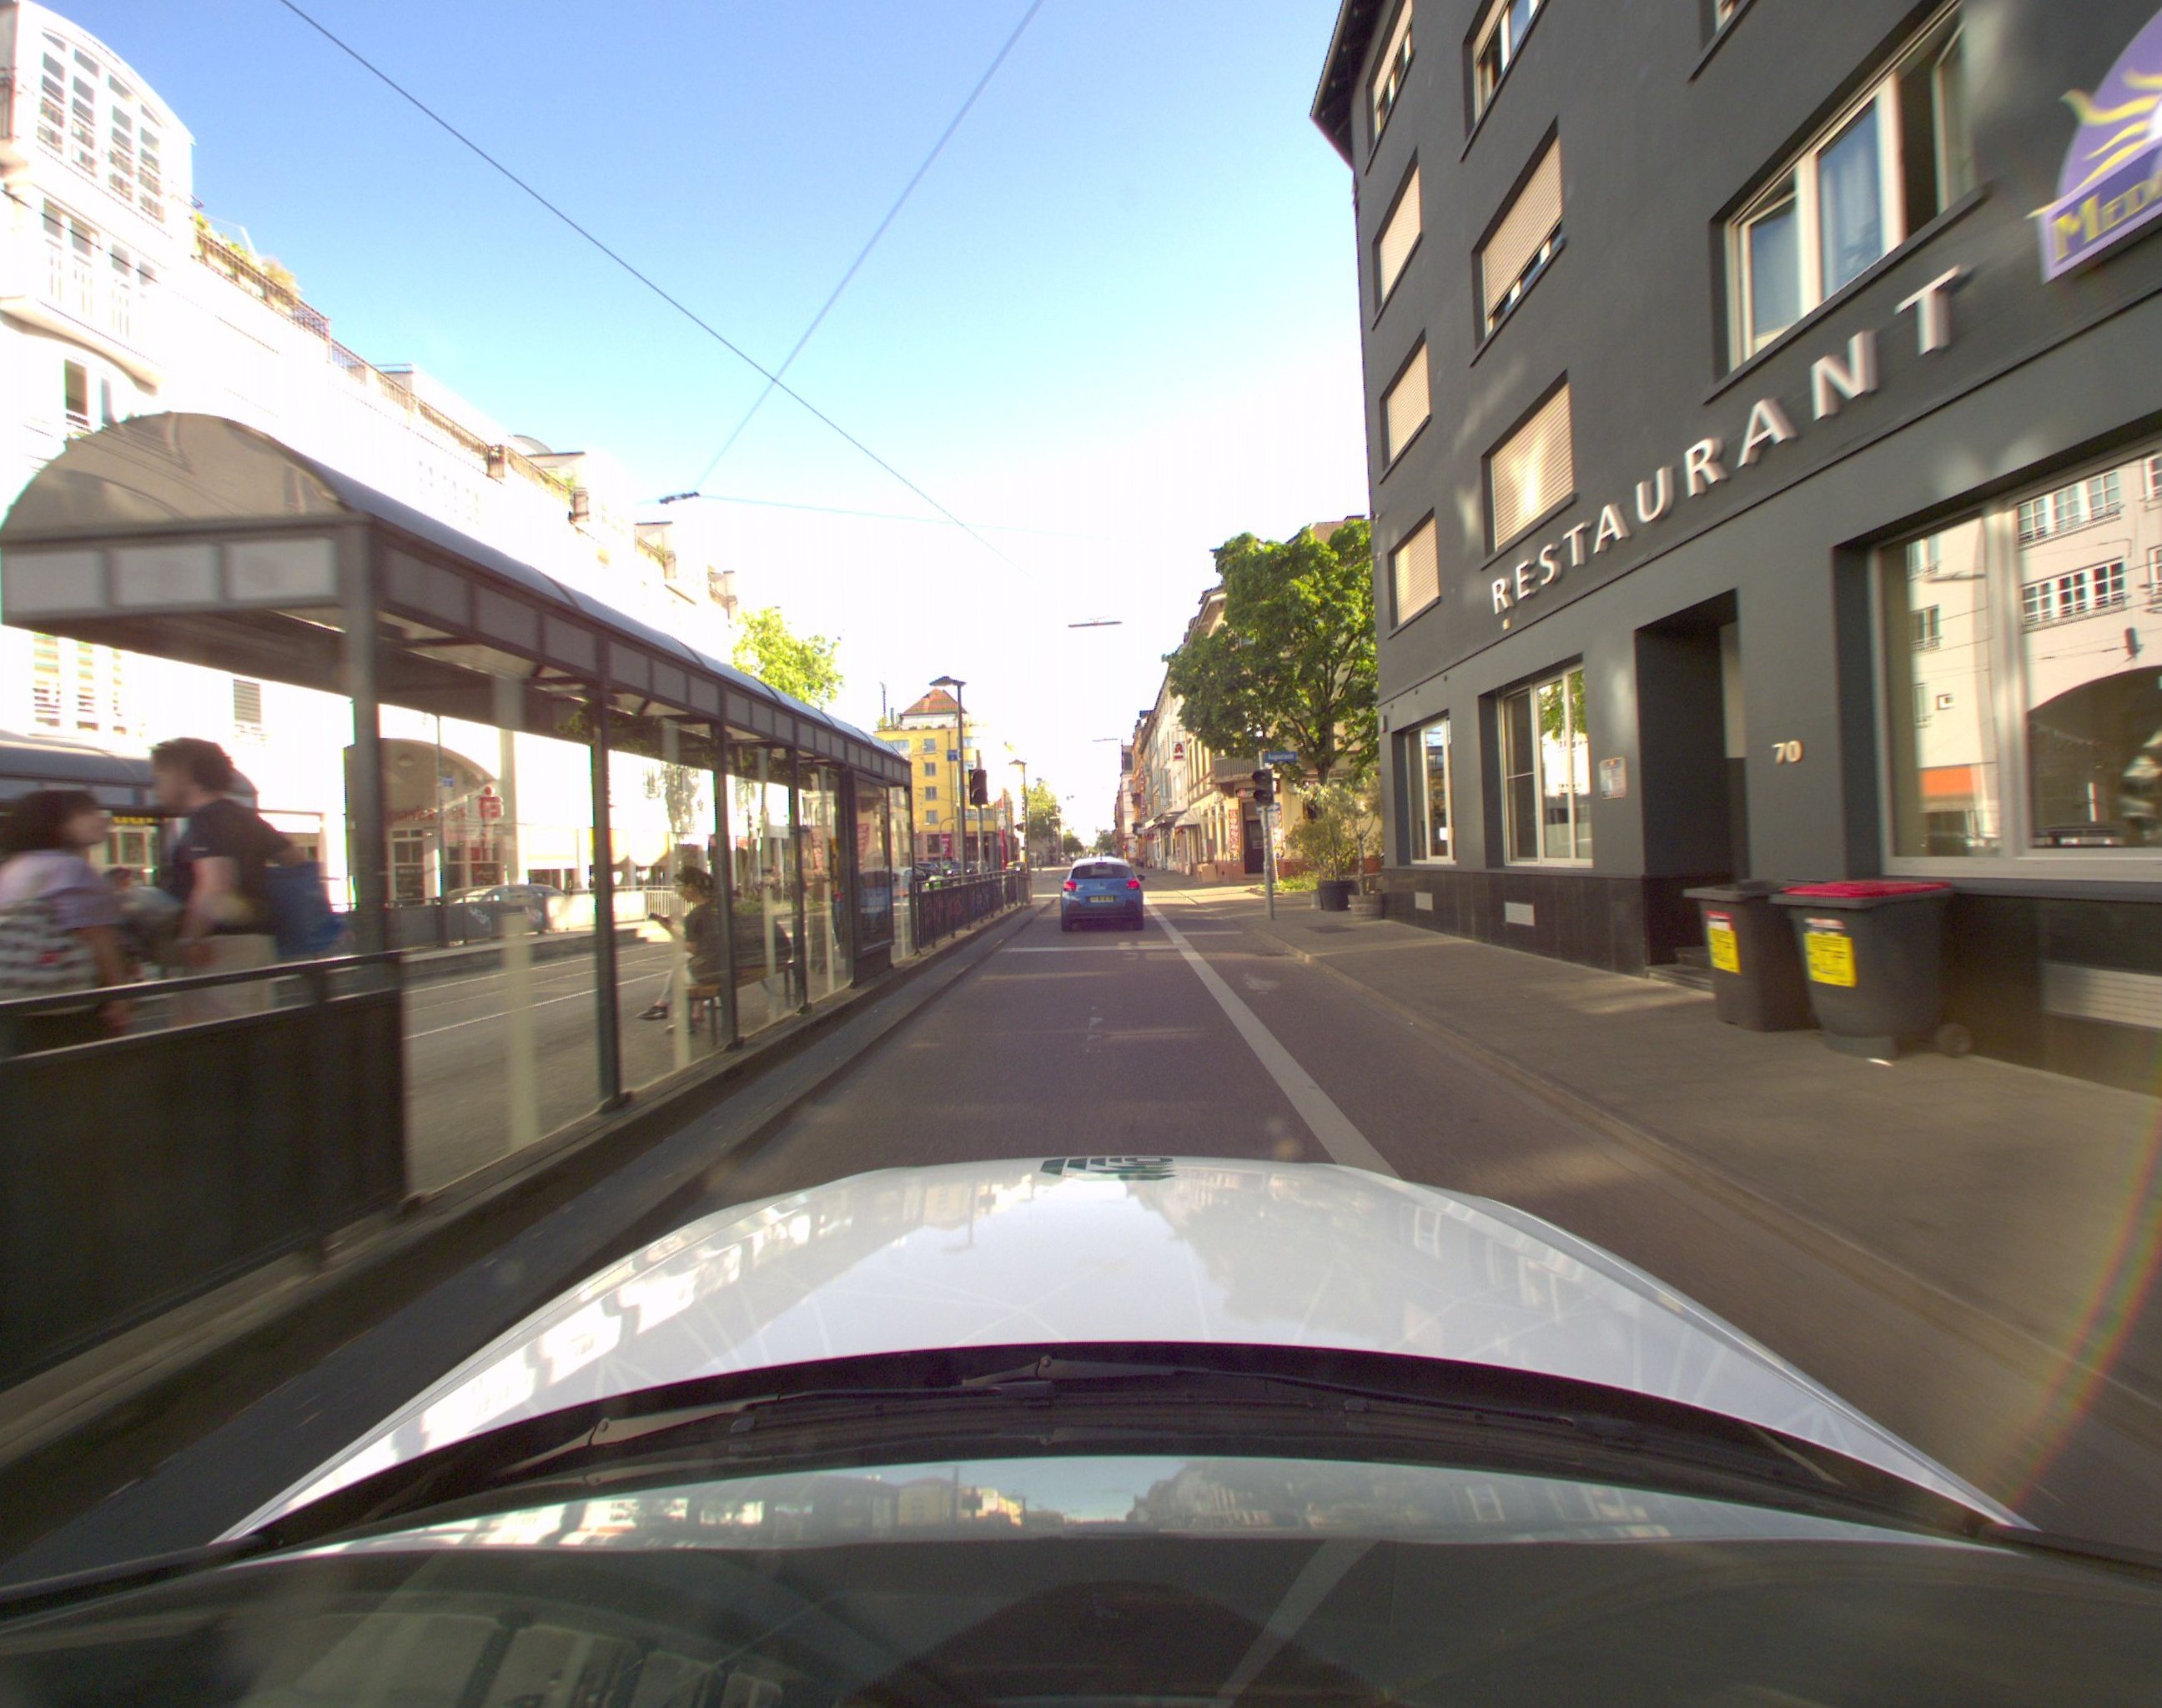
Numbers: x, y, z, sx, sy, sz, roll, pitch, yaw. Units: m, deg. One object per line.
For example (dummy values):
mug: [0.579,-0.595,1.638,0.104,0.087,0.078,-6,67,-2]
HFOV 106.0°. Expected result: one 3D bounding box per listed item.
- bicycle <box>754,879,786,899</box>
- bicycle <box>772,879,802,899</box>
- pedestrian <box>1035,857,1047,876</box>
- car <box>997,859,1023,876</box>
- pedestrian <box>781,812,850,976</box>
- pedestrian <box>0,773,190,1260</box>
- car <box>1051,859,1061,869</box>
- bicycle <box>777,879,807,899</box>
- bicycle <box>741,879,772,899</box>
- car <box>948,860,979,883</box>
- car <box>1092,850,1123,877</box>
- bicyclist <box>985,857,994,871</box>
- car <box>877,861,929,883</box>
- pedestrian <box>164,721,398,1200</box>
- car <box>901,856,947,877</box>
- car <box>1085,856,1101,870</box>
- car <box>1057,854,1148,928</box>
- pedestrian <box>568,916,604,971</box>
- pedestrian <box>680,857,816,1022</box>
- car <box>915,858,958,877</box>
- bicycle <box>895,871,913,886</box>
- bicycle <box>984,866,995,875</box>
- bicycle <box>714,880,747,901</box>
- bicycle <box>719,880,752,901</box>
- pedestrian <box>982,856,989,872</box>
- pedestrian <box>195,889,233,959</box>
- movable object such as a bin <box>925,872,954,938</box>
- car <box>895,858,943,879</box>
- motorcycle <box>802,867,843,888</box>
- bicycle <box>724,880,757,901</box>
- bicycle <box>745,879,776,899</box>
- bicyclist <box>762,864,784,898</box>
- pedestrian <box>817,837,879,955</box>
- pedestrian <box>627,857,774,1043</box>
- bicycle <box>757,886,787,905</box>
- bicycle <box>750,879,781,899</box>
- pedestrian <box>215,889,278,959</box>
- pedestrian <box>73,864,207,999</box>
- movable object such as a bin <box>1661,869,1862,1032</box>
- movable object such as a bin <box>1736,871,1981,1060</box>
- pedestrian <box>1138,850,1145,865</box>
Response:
bicycle: [-15.948,1.803,41.779,0.387,0.941,1.505,-3,0,37]
bicycle: [-15.733,1.873,43.573,0.387,0.941,1.505,-3,0,37]
pedestrian: [-3.574,1.129,72.897,0.842,1.654,0.691,-2,0,-27]
car: [-6.872,1.319,79.282,1.943,1.486,4.002,-3,0,2]
pedestrian: [-2.993,0.433,9.169,0.566,1.751,0.713,-2,-1,-28]
pedestrian: [-3.612,0.525,2.923,0.579,1.562,0.473,-3,-1,37]
car: [-4.984,1.989,163.625,1.987,2.014,3.999,-1,-1,0]
bicycle: [-15.374,1.864,43.292,0.387,0.941,1.505,-3,0,37]
bicycle: [-16.956,1.832,42.540,0.387,0.941,1.505,-3,0,37]
car: [-9.186,1.338,63.977,1.747,1.615,4.826,-4,0,-1]
car: [1.810,0.659,55.087,1.986,1.743,4.001,-1,-1,2]
bicyclist: [-8.936,0.972,79.529,0.727,1.291,1.181,-2,0,2]
car: [-15.207,1.530,69.702,3.977,1.674,1.956,-2,0,-2]
pedestrian: [-3.406,0.400,3.467,0.710,1.777,0.569,-3,-1,37]
car: [-14.956,1.198,77.744,3.977,1.848,1.956,-2,0,-2]
car: [1.595,1.232,107.960,1.986,1.743,4.001,-1,-1,2]
car: [0.485,0.740,17.931,1.774,1.451,3.655,-1,0,2]
pedestrian: [-14.783,2.657,24.329,0.578,1.559,0.684,-2,0,0]
pedestrian: [-2.759,0.680,6.808,0.761,1.272,0.720,-2,0,4]
car: [-14.615,1.347,82.278,3.977,1.848,1.956,-2,0,-2]
bicycle: [-13.658,1.872,62.893,0.677,1.002,2.688,-2,0,3]
bicycle: [-8.926,1.579,79.519,0.677,0.827,2.578,-2,0,3]
bicycle: [-17.687,1.841,41.106,0.387,0.941,1.505,-3,0,37]
bicycle: [-17.325,1.823,40.840,0.387,0.941,1.505,-3,0,37]
pedestrian: [-11.470,1.237,97.798,0.695,1.858,0.837,-2,0,-11]
pedestrian: [-21.018,1.678,19.754,0.359,1.664,0.492,-1,-2,2]
movable object such as a bin: [-2.222,0.795,12.812,0.345,1.007,0.404,-2,0,3]
car: [-14.793,1.317,74.721,3.977,1.848,1.956,-2,0,-2]
motorcycle: [-17.575,1.602,55.466,2.506,1.288,0.668,-2,0,-2]
bicycle: [-16.937,1.805,40.539,0.387,0.941,1.505,-3,0,37]
bicycle: [-16.619,1.813,42.290,0.387,0.941,1.505,-3,0,37]
bicyclist: [-14.647,1.269,38.776,0.669,1.557,0.778,-2,0,2]
pedestrian: [-3.187,0.561,11.156,0.619,1.558,0.568,-2,-1,2]
pedestrian: [-2.788,0.675,6.026,0.708,1.272,0.657,-2,0,4]
bicycle: [-14.658,1.960,38.701,0.564,0.757,1.939,-2,0,3]
bicycle: [-16.260,1.809,42.014,0.387,0.941,1.505,-3,0,37]
pedestrian: [-20.346,1.684,19.865,0.593,1.621,0.845,-2,0,2]
pedestrian: [-11.563,0.925,10.036,0.729,1.559,0.743,-2,0,0]
movable object such as a bin: [4.930,0.668,5.959,0.745,1.036,0.754,-6,-1,1]
movable object such as a bin: [4.898,0.668,5.194,0.745,1.036,0.754,-6,-1,1]
pedestrian: [6.442,0.380,86.618,0.691,1.651,0.680,-2,0,0]
